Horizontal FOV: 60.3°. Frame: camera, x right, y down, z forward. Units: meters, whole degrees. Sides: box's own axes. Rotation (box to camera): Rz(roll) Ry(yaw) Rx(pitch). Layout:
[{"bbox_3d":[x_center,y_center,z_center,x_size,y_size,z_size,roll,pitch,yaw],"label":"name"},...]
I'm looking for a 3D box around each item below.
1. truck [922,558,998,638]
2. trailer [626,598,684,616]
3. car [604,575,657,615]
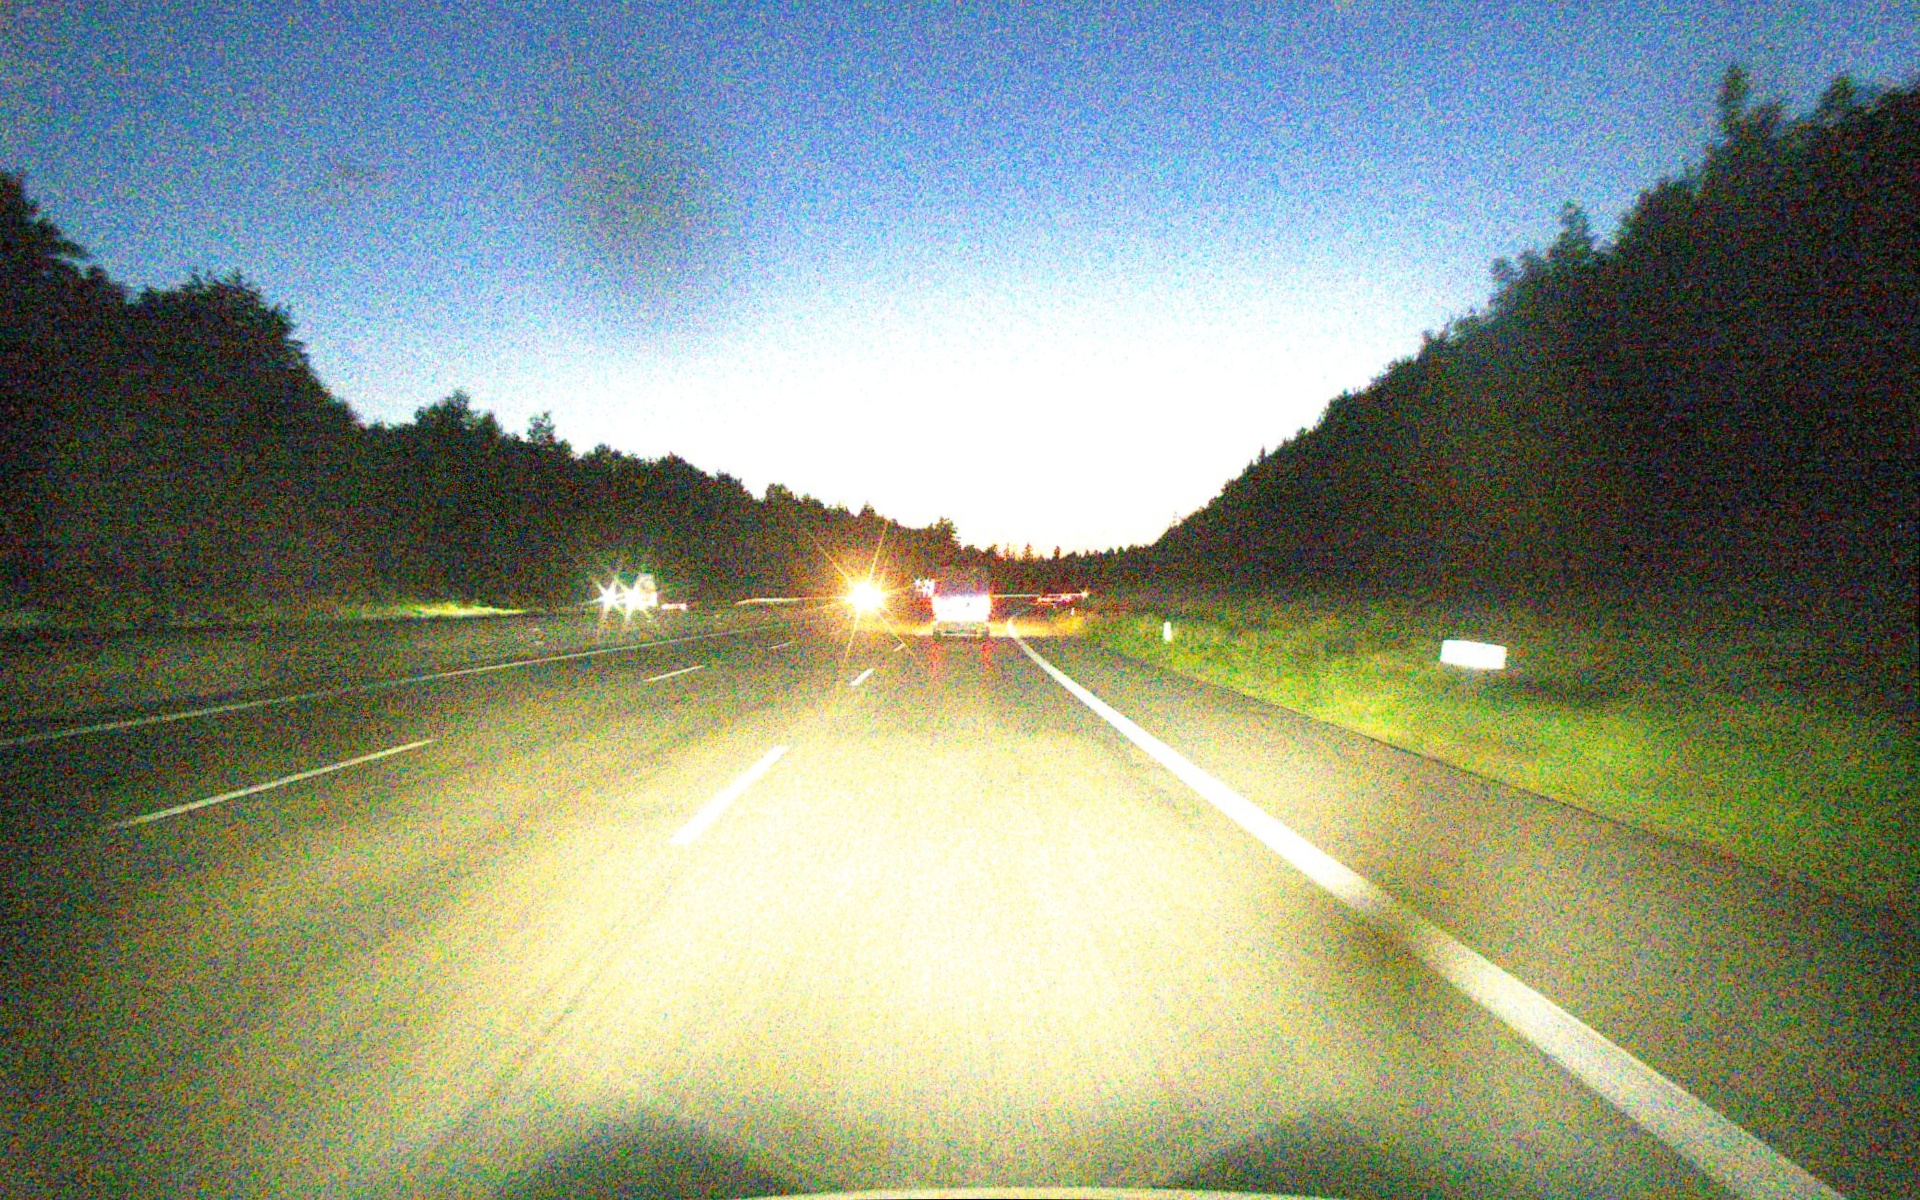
[{"bbox_3d":[-0.006,-0.042,60.719,2.576,2.670,8.683,1,0,0],"label":"truck"},{"bbox_3d":[-21.185,0.500,115.321,2.365,1.123,8.078,1,0,1],"label":"trailer"},{"bbox_3d":[-21.507,-0.300,108.192,2.039,2.531,6.243,1,0,1],"label":"car"}]
